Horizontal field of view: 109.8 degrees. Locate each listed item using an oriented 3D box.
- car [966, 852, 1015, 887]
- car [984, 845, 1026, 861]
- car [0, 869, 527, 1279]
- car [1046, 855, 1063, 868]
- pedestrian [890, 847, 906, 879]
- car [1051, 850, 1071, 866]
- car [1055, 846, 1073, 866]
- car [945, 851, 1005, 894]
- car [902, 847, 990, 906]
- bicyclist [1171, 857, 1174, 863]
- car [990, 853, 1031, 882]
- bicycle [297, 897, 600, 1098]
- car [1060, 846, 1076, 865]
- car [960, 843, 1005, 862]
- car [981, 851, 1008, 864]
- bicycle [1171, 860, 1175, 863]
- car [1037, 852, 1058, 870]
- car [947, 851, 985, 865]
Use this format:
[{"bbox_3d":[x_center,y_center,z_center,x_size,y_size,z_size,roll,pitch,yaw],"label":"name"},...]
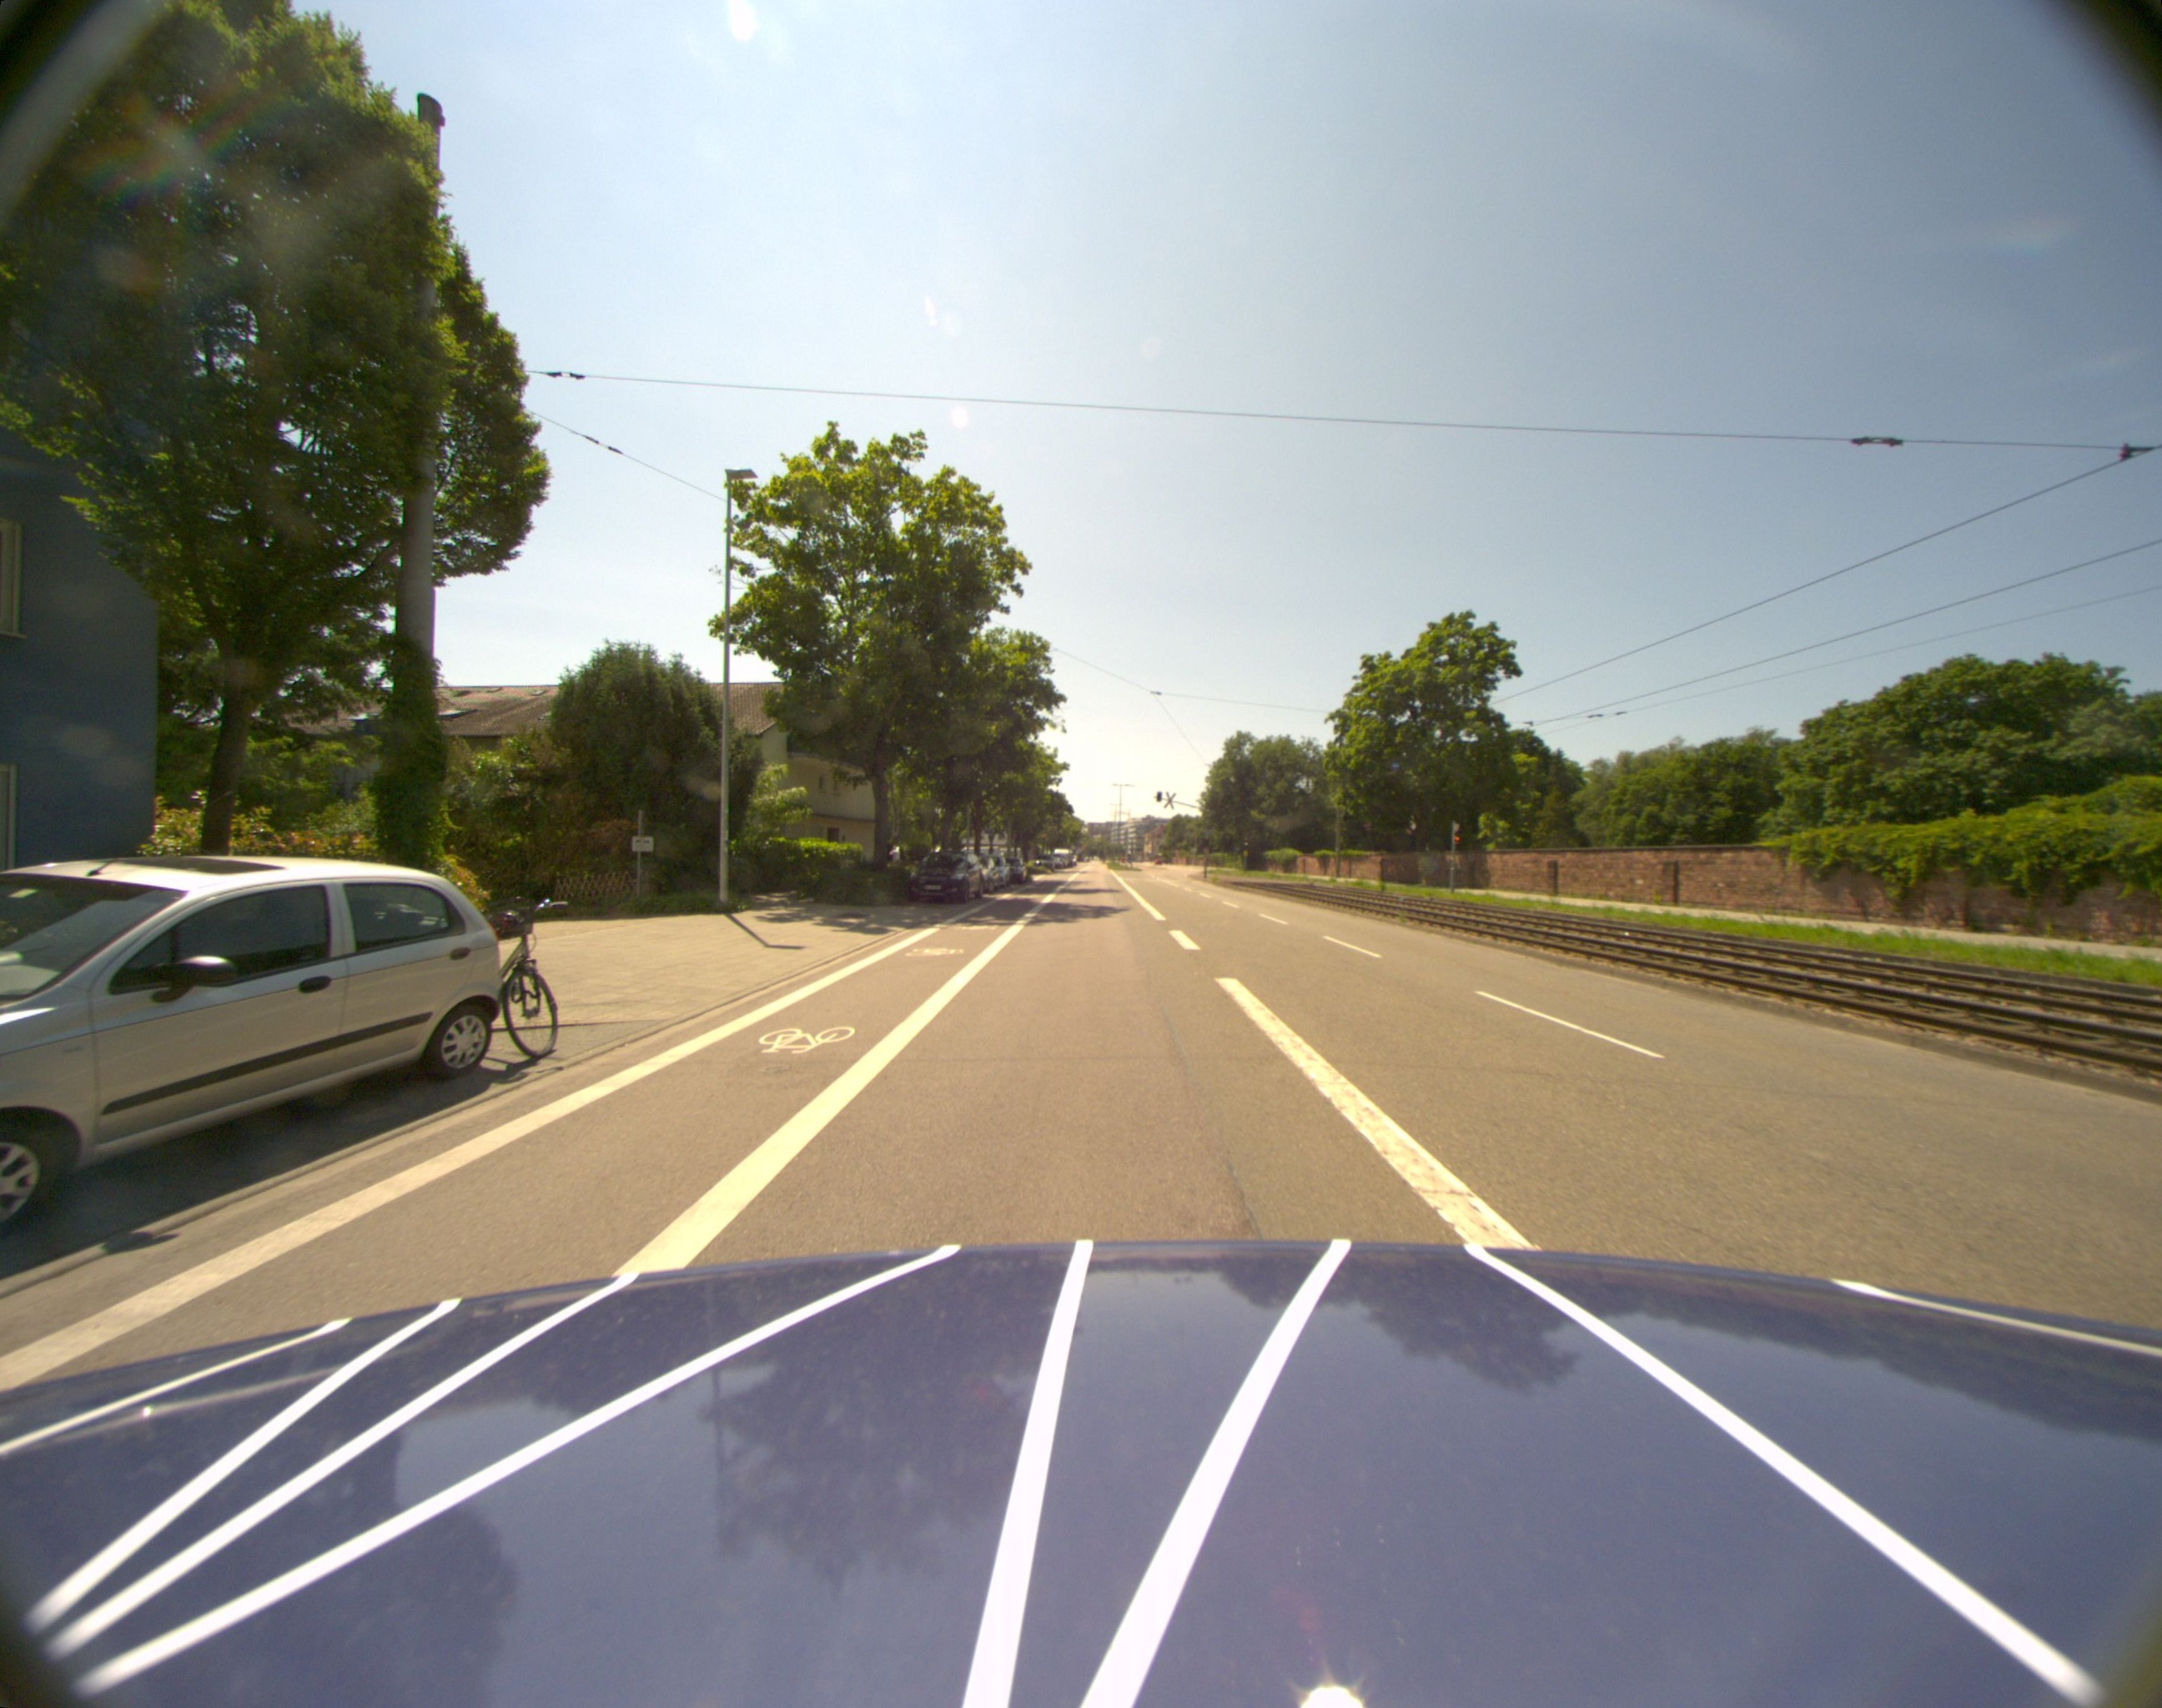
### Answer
[{"bbox_3d":[-4.341,0.716,36.989,1.845,1.520,4.205,4,0,-1],"label":"car"},{"bbox_3d":[-12.177,-0.142,122.149,6.354,2.514,2.264,-1,0,4],"label":"car"},{"bbox_3d":[-5.061,0.914,3.872,1.522,1.520,3.817,4,0,1],"label":"car"},{"bbox_3d":[-2.979,0.823,86.758,1.716,1.410,4.708,4,0,0],"label":"car"},{"bbox_3d":[-9.930,0.471,41.288,0.749,1.712,0.632,1,1,-5],"label":"pedestrian"},{"bbox_3d":[-2.582,0.476,97.602,2.002,1.867,5.277,4,0,3],"label":"car"},{"bbox_3d":[-2.315,0.274,104.537,2.002,2.621,6.143,4,0,1],"label":"car"},{"bbox_3d":[-4.311,0.717,31.375,1.845,1.520,4.353,4,0,-1],"label":"car"},{"bbox_3d":[-4.393,0.696,25.521,1.845,1.696,4.627,4,0,3],"label":"car"},{"bbox_3d":[24.143,1.611,199.617,0.654,1.488,0.662,1,0,0],"label":"bicyclist"},{"bbox_3d":[-3.896,0.750,42.867,1.845,1.427,4.824,4,0,-1],"label":"car"},{"bbox_3d":[-4.871,1.062,5.909,1.777,1.221,0.684,6,1,5],"label":"bicycle"},{"bbox_3d":[-1.889,0.265,111.279,2.002,2.621,6.079,4,0,1],"label":"car"},{"bbox_3d":[-12.604,-0.178,97.493,5.503,2.445,2.095,-1,0,2],"label":"car"},{"bbox_3d":[-12.695,0.497,111.579,3.789,1.773,1.954,-1,0,-3],"label":"car"},{"bbox_3d":[24.139,1.979,199.591,0.654,0.951,2.114,1,0,0],"label":"bicycle"},{"bbox_3d":[-3.258,0.645,74.697,1.716,1.623,4.708,4,1,1],"label":"car"},{"bbox_3d":[-13.072,0.460,86.606,4.031,1.482,1.770,-1,0,0],"label":"car"}]
